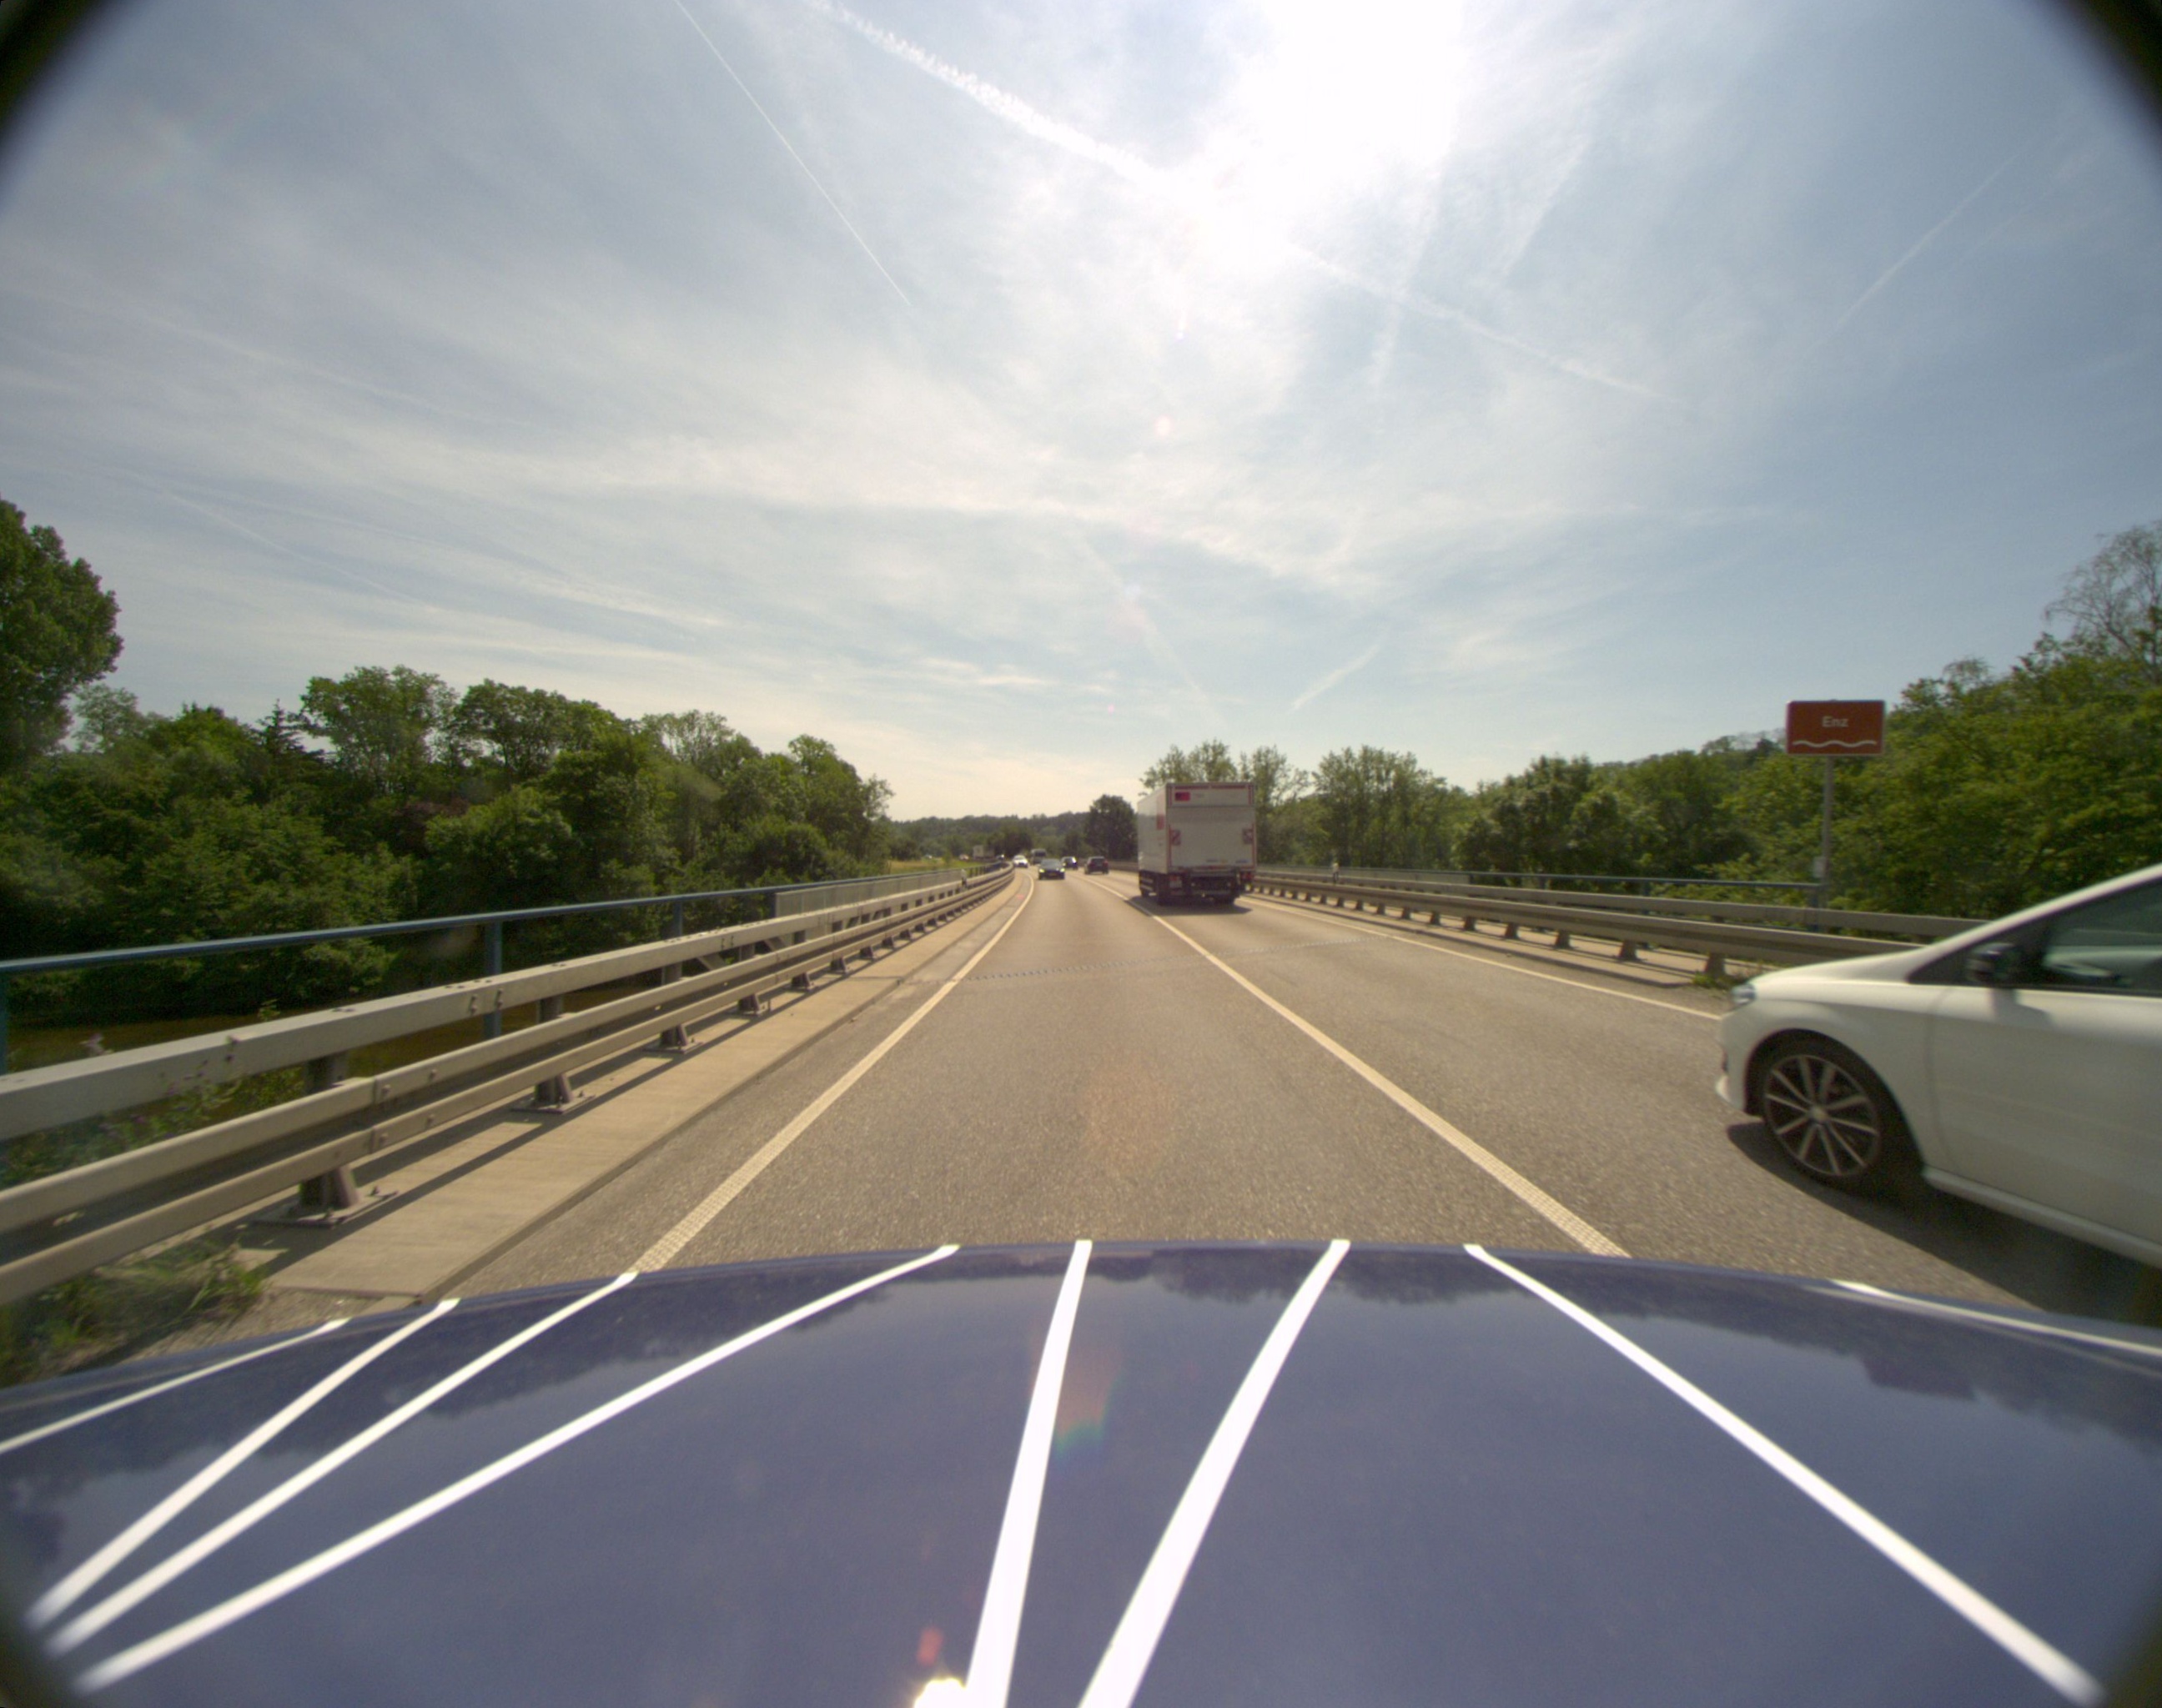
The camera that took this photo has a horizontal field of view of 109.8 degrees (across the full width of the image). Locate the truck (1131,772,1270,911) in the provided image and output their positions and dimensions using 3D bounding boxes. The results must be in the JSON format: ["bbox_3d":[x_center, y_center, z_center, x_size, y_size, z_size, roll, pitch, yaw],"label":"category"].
[{"bbox_3d":[3.639,-0.304,25.920,2.922,3.781,9.707,-1,0,-1],"label":"truck"}]

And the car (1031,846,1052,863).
[{"bbox_3d":[-6.195,0.051,118.788,2.187,2.545,5.789,-2,1,-12],"label":"car"}]

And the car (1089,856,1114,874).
[{"bbox_3d":[1.701,0.905,64.829,1.726,1.474,4.567,-2,0,-4],"label":"car"}]

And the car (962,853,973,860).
[{"bbox_3d":[-28.887,0.711,192.968,1.983,1.721,3.995,0,-2,-19],"label":"car"}]

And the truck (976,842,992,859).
[{"bbox_3d":[-24.655,-0.837,193.124,2.857,4.136,6.321,-2,0,-16],"label":"truck"}]

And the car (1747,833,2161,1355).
[{"bbox_3d":[3.981,0.679,1.553,1.762,1.503,4.000,-1,0,1],"label":"car"}]

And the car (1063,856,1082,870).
[{"bbox_3d":[-0.955,0.952,84.522,1.726,1.427,4.615,-2,0,-5],"label":"car"}]

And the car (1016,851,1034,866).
[{"bbox_3d":[-7.511,0.600,101.163,1.982,1.779,3.996,-2,1,-9],"label":"car"}]

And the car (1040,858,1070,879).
[{"bbox_3d":[-1.853,1.009,53.493,1.981,1.333,3.999,-2,0,-2],"label":"car"}]

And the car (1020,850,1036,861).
[{"bbox_3d":[-9.374,0.217,133.851,1.860,1.788,4.970,-2,1,-16],"label":"car"}]

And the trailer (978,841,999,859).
[{"bbox_3d":[-22.905,-0.877,187.134,2.864,4.163,14.477,-2,0,-16],"label":"trailer"}]

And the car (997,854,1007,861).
[{"bbox_3d":[-17.303,0.744,166.267,1.668,1.449,3.889,1,-1,-15],"label":"car"}]
